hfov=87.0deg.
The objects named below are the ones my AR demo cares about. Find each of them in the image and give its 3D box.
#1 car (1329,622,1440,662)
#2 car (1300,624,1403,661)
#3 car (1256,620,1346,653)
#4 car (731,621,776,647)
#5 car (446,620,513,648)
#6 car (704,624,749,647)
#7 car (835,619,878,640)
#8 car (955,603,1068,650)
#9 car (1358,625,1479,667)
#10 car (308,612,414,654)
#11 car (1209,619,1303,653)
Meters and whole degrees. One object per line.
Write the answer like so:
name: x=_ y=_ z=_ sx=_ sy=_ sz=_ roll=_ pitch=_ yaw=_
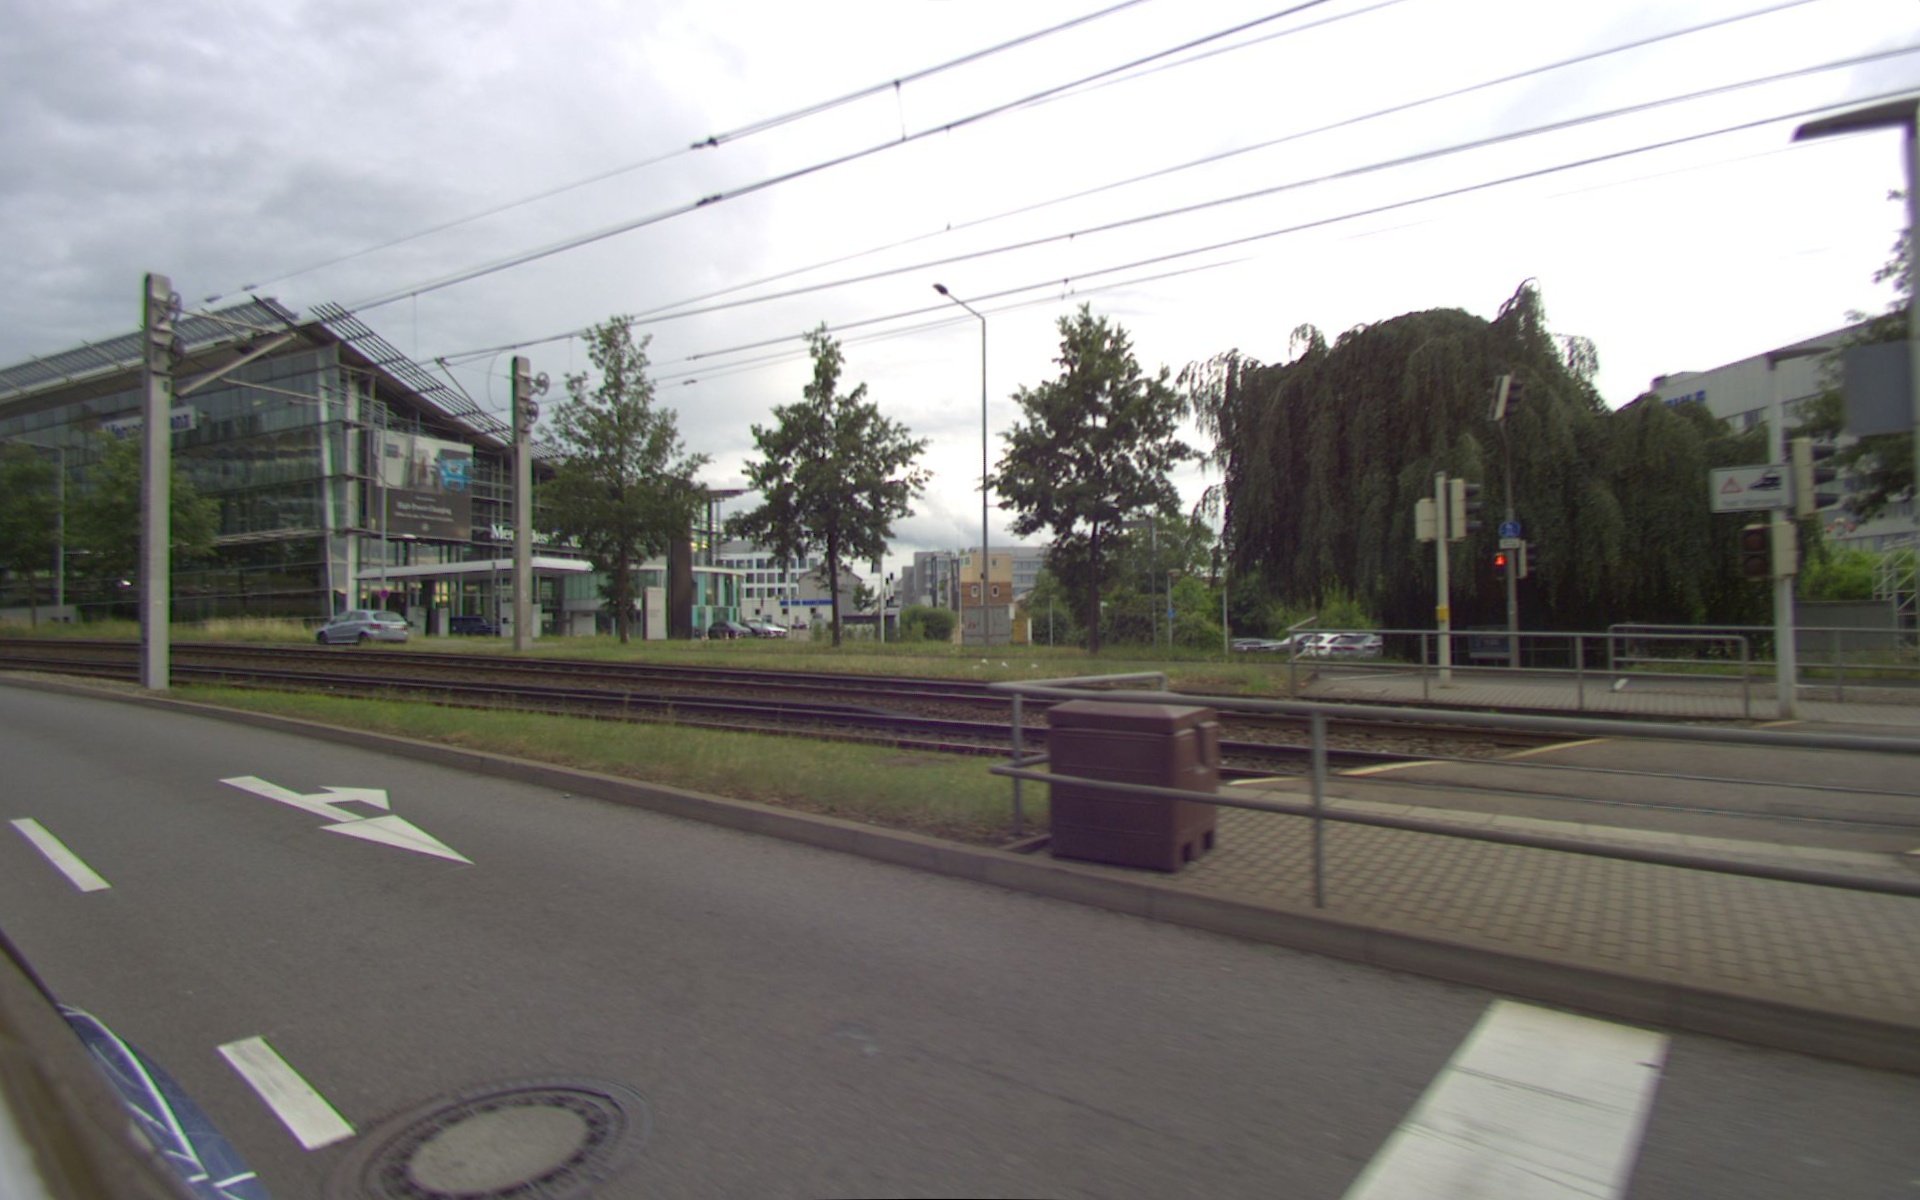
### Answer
car: x=17.896 y=1.764 z=42.789 sx=3.947 sy=1.505 sz=1.756 roll=1 pitch=1 yaw=3
car: x=17.630 y=1.902 z=45.697 sx=3.947 sy=1.505 sz=1.756 roll=1 pitch=1 yaw=3
car: x=17.268 y=1.841 z=51.308 sx=3.947 sy=1.505 sz=1.756 roll=1 pitch=1 yaw=3
car: x=-18.366 y=2.997 z=89.951 sx=3.739 sy=2.029 sz=1.885 roll=1 pitch=1 yaw=36
car: x=-34.798 y=2.477 z=73.365 sx=3.941 sy=1.864 sz=1.896 roll=1 pitch=1 yaw=-2
car: x=-20.128 y=3.026 z=87.200 sx=3.741 sy=1.723 sz=1.761 roll=1 pitch=1 yaw=36
car: x=-9.667 y=2.745 z=94.716 sx=3.941 sy=1.741 sz=2.002 roll=1 pitch=1 yaw=-3
car: x=2.008 y=0.982 z=39.757 sx=3.983 sy=1.663 sz=1.980 roll=1 pitch=1 yaw=30
car: x=18.170 y=1.802 z=40.249 sx=3.947 sy=1.505 sz=1.756 roll=1 pitch=1 yaw=3
car: x=-25.115 y=1.359 z=42.455 sx=3.977 sy=1.692 sz=1.983 roll=-1 pitch=0 yaw=25
car: x=14.367 y=1.744 z=49.307 sx=3.943 sy=1.521 sz=2.001 roll=1 pitch=1 yaw=-1
